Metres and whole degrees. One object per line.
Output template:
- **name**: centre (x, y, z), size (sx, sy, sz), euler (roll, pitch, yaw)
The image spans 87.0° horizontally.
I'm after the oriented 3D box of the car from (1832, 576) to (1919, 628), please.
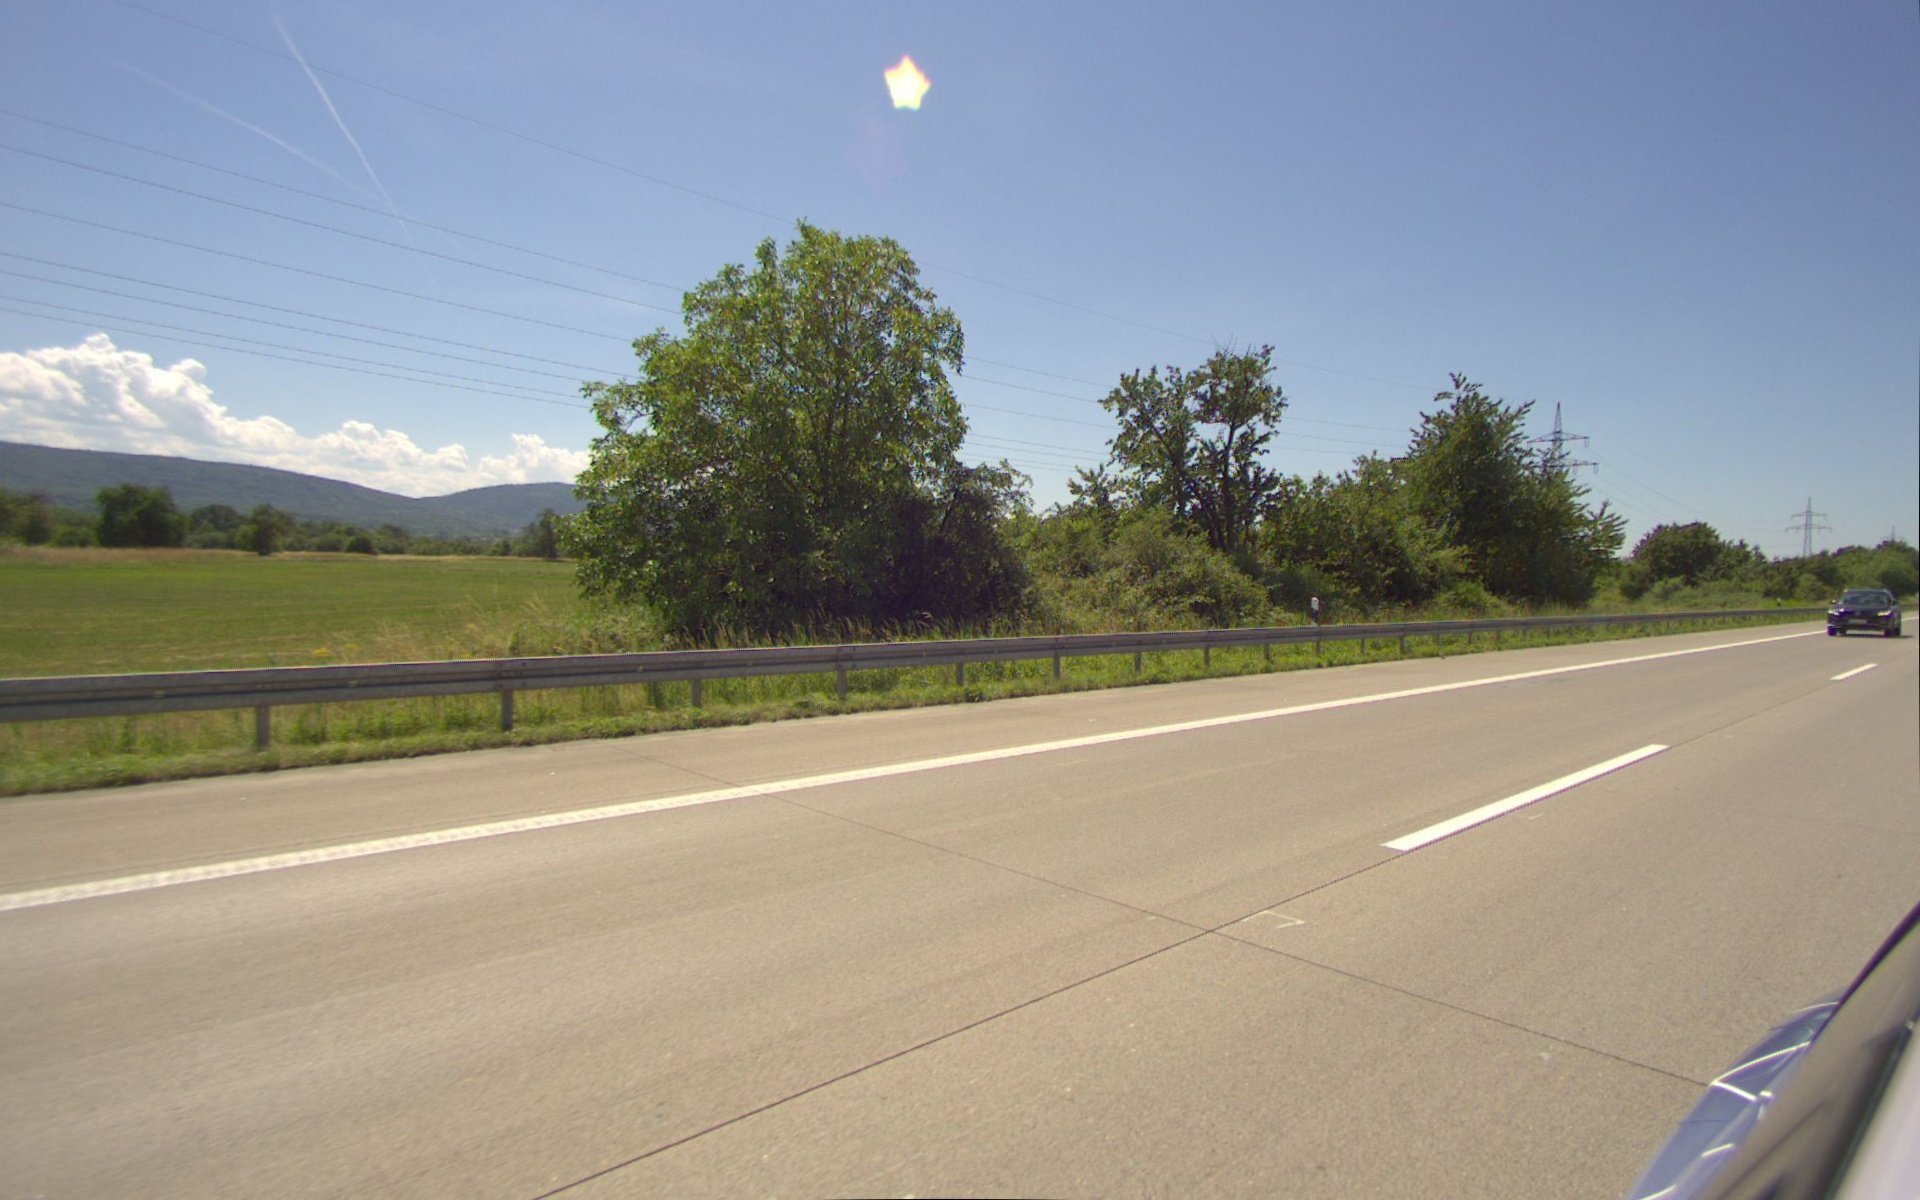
- **car**: centre (33.514, 0.054, 36.917), size (3.929, 1.805, 1.997), euler (0, 1, -40)
